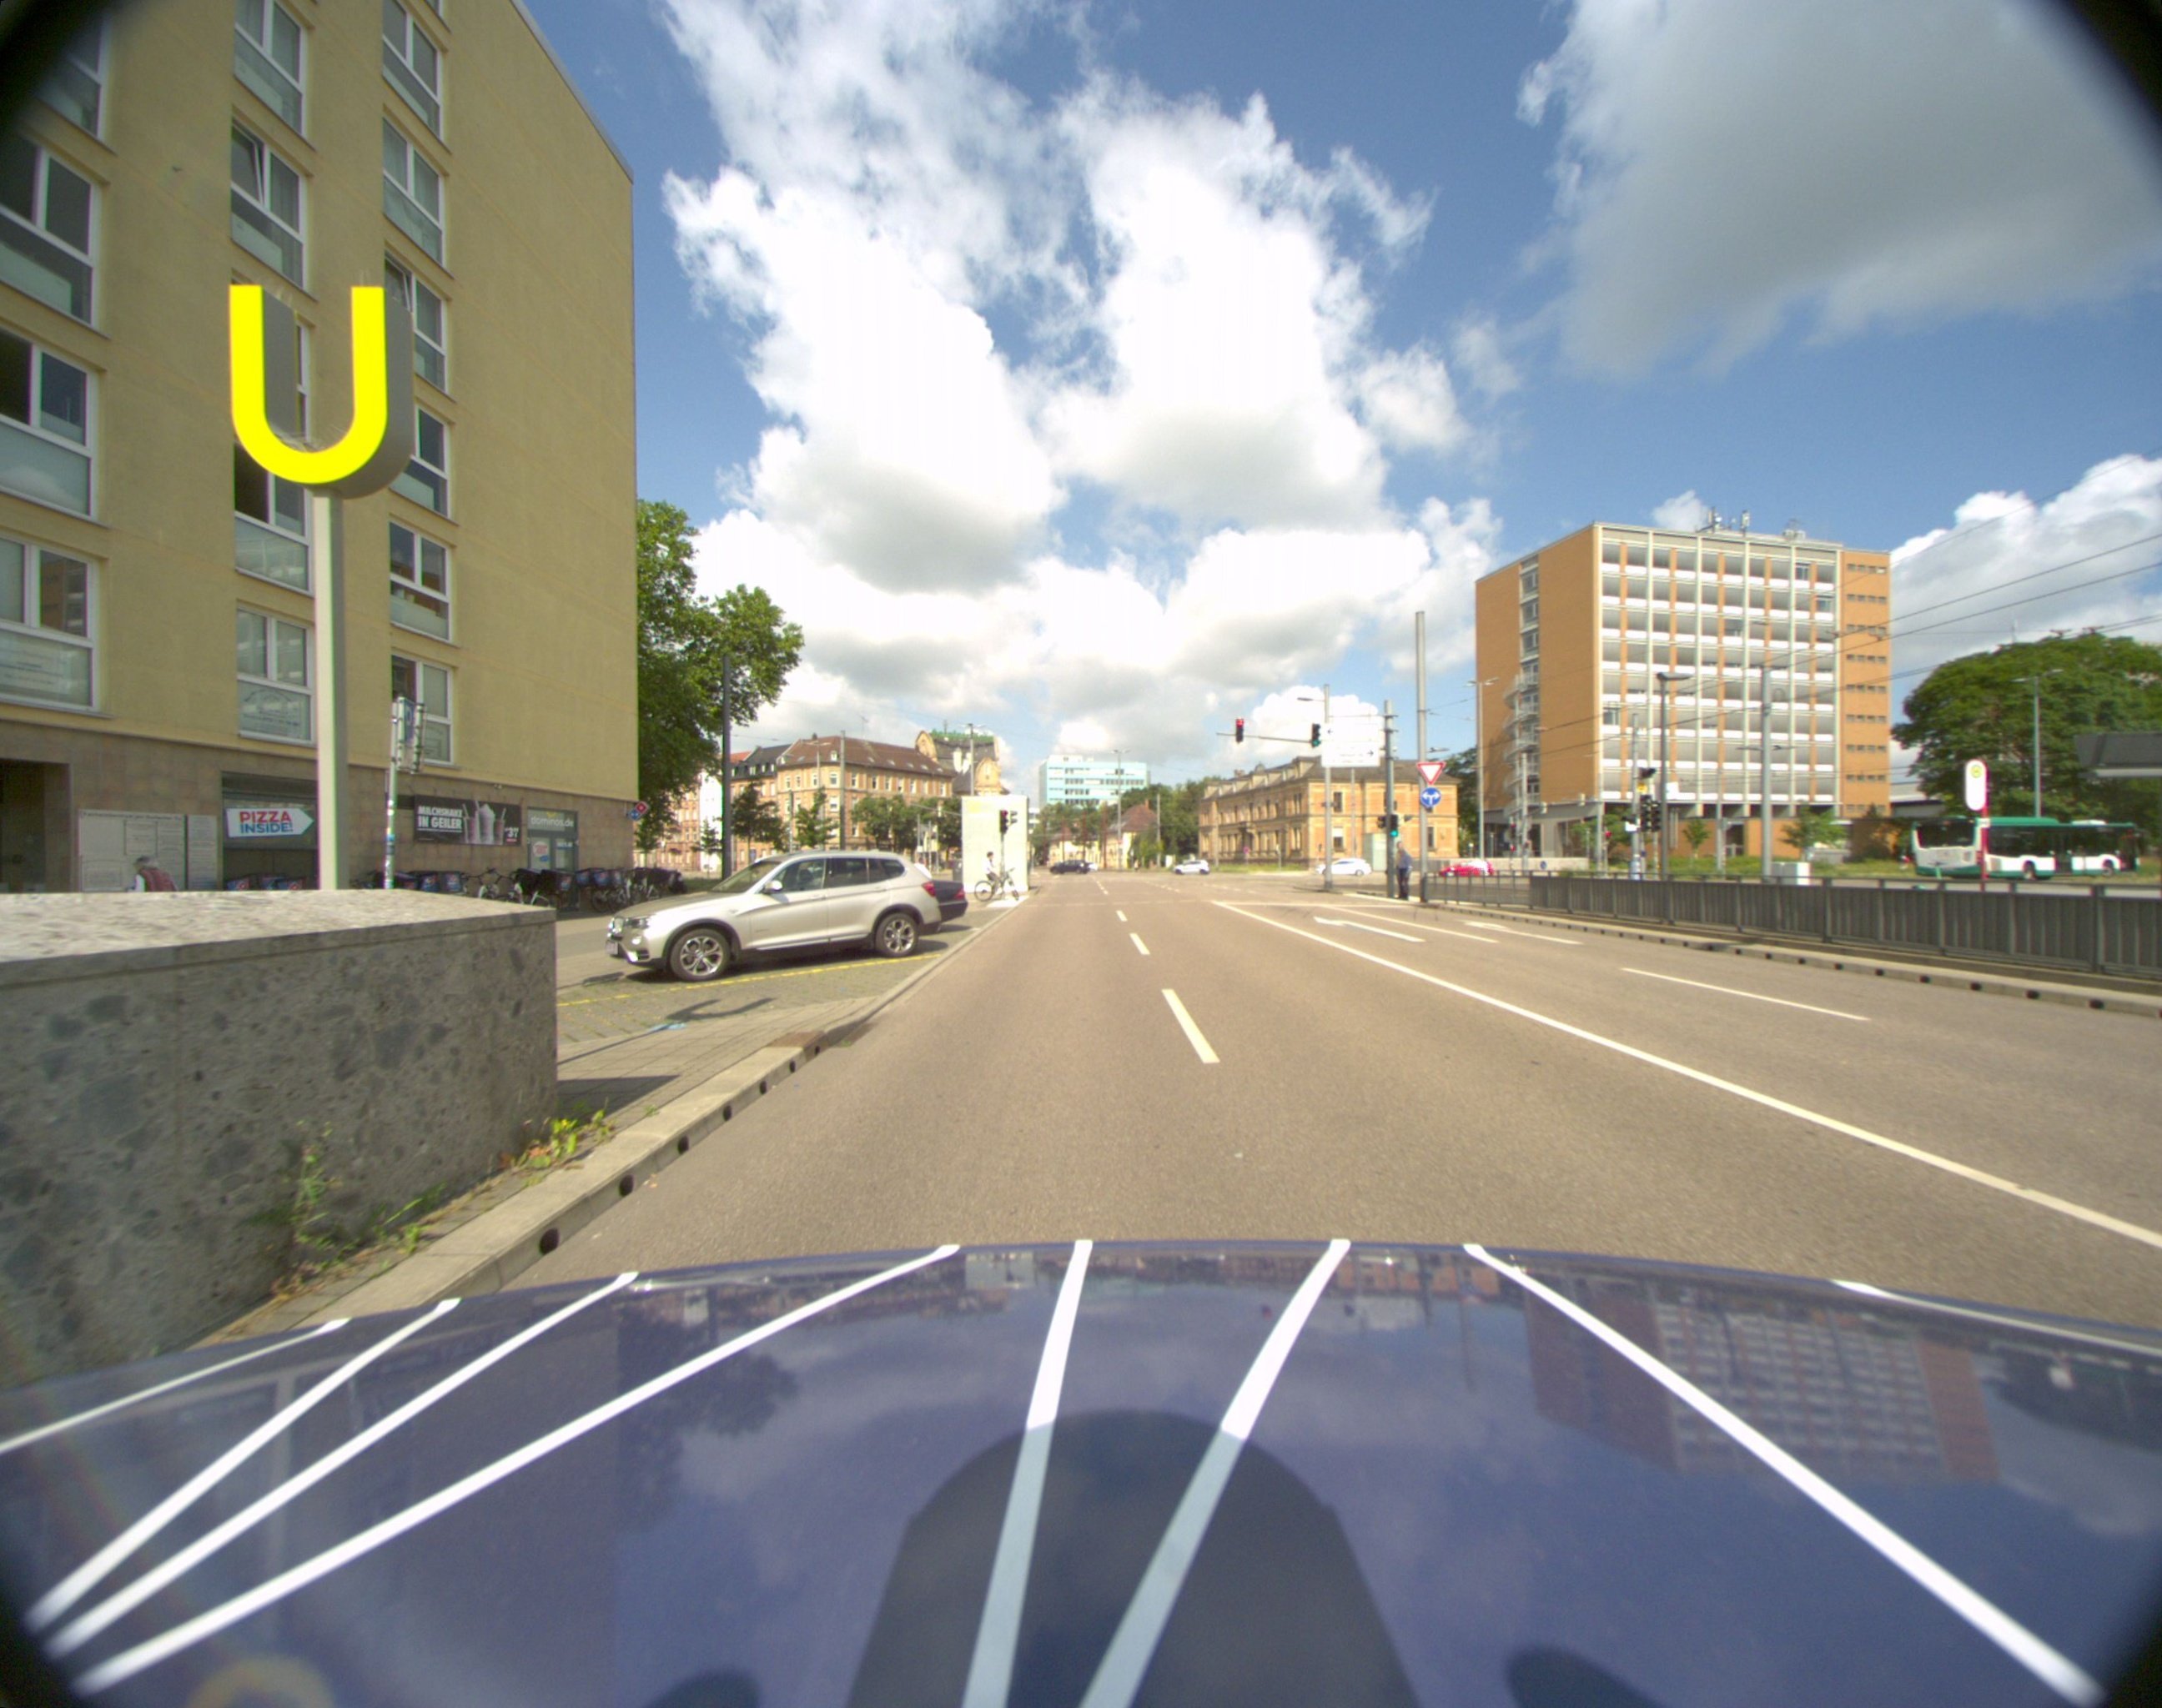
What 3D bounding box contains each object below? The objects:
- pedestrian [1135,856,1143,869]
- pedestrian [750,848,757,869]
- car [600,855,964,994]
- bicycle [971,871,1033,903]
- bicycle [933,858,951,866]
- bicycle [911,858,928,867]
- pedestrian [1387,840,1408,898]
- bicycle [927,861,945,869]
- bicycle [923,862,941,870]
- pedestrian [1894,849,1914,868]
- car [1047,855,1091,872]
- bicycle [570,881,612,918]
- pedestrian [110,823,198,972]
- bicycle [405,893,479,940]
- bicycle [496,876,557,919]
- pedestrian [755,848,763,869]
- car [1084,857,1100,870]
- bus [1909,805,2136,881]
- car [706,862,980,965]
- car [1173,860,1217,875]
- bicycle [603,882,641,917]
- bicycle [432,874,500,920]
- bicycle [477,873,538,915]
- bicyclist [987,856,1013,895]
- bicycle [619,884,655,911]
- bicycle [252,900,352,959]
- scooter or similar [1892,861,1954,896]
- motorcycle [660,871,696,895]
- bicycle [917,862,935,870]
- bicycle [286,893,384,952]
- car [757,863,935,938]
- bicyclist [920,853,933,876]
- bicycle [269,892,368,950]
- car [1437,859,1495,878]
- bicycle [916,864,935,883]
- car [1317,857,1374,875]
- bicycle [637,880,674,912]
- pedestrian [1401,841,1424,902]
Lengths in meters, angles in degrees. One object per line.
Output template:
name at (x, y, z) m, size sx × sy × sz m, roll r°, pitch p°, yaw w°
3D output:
pedestrian at (6.593, 0.955, 86.164) m, size 0.543 × 1.507 × 0.744 m, roll 0°, pitch 0°, yaw 40°
pedestrian at (-48.014, 0.631, 111.367) m, size 0.885 × 3.101 × 0.669 m, roll -2°, pitch -2°, yaw 41°
car at (-4.277, 0.842, 11.338) m, size 4.605 × 1.637 × 2.056 m, roll 0°, pitch 0°, yaw -42°
bicycle at (-2.788, 1.152, 26.787) m, size 2.096 × 1.099 × 0.545 m, roll -1°, pitch -2°, yaw 15°
bicycle at (-19.962, 1.127, 109.140) m, size 2.677 × 1.159 × 0.763 m, roll 0°, pitch 0°, yaw 35°
bicycle at (-22.432, 1.151, 105.455) m, size 2.677 × 1.159 × 0.763 m, roll 0°, pitch 0°, yaw 34°
pedestrian at (10.942, 0.514, 26.263) m, size 0.427 × 2.002 × 0.578 m, roll -1°, pitch 0°, yaw -11°
bicycle at (-20.618, 1.583, 108.189) m, size 2.677 × 1.159 × 0.763 m, roll 0°, pitch 0°, yaw 34°
bicycle at (-21.074, 1.651, 107.278) m, size 2.677 × 1.159 × 0.763 m, roll 0°, pitch 0°, yaw 35°
pedestrian at (68.686, 0.398, 63.431) m, size 0.770 × 1.569 × 0.955 m, roll -1°, pitch 0°, yaw -29°
car at (-1.261, 1.011, 79.810) m, size 4.203 × 1.566 × 1.649 m, roll -2°, pitch -2°, yaw 19°
bicycle at (-13.322, 1.222, 20.686) m, size 0.293 × 0.917 × 1.452 m, roll 0°, pitch 0°, yaw -4°
pedestrian at (-12.751, 0.596, 10.463) m, size 0.603 × 2.001 × 0.460 m, roll -1°, pitch -2°, yaw 1°
bicycle at (-13.430, 1.295, 16.013) m, size 0.293 × 0.917 × 1.465 m, roll -1°, pitch -2°, yaw 1°
bicycle at (-12.848, 0.988, 17.647) m, size 0.293 × 0.917 × 1.464 m, roll 0°, pitch 0°, yaw 1°
pedestrian at (-47.436, 0.623, 112.004) m, size 0.885 × 3.057 × 0.729 m, roll -2°, pitch -2°, yaw 41°
car at (1.380, 1.212, 98.823) m, size 1.956 × 1.586 × 4.507 m, roll -1°, pitch -2°, yaw -1°
bus at (48.734, -0.547, 39.281) m, size 12.386 × 3.599 × 2.911 m, roll 0°, pitch 0°, yaw -17°
car at (-4.502, 1.045, 14.769) m, size 4.608 × 1.451 × 1.934 m, roll -3°, pitch 0°, yaw -39°
car at (11.207, 1.322, 74.859) m, size 4.069 × 1.376 × 1.591 m, roll -1°, pitch -2°, yaw 20°
bicycle at (-12.735, 1.243, 21.112) m, size 0.293 × 0.917 × 1.611 m, roll 0°, pitch -1°, yaw -9°
bicycle at (-12.945, 0.879, 16.037) m, size 0.293 × 0.917 × 1.464 m, roll -1°, pitch -1°, yaw -2°
bicycle at (-13.367, 0.920, 17.744) m, size 0.293 × 0.917 × 1.464 m, roll -1°, pitch 0°, yaw 1°
bicyclist at (-2.861, 0.763, 26.824) m, size 0.782 × 1.328 × 0.395 m, roll -1°, pitch -2°, yaw 15°
bicycle at (-13.386, 1.315, 22.935) m, size 0.293 × 0.734 × 1.452 m, roll 0°, pitch 0°, yaw -3°
bicycle at (-13.616, 1.299, 13.327) m, size 0.293 × 0.917 × 1.464 m, roll -1°, pitch -1°, yaw -2°
scooter or similar at (28.830, 0.827, 26.045) m, size 0.813 × 1.160 × 1.167 m, roll 0°, pitch 0°, yaw -9°
motorcycle at (-18.157, 1.284, 34.212) m, size 0.976 × 1.024 × 2.288 m, roll -2°, pitch 1°, yaw -39°
bicycle at (-21.745, 1.688, 106.361) m, size 2.677 × 1.158 × 0.763 m, roll -2°, pitch -2°, yaw 34°
bicycle at (-12.843, 1.157, 13.130) m, size 0.293 × 0.917 × 1.464 m, roll -1°, pitch -1°, yaw -2°
car at (-5.424, 0.992, 17.696) m, size 3.503 × 1.445 × 1.774 m, roll -2°, pitch 1°, yaw -40°
bicyclist at (-9.574, 0.661, 47.015) m, size 0.655 × 1.429 × 0.743 m, roll 0°, pitch 0°, yaw 1°
bicycle at (-13.298, 1.147, 13.301) m, size 0.293 × 0.917 × 1.464 m, roll -1°, pitch -1°, yaw -2°
car at (32.024, 1.210, 63.320) m, size 4.057 × 1.458 × 1.649 m, roll -1°, pitch -2°, yaw 15°
bicycle at (-9.572, 1.206, 46.911) m, size 0.663 × 1.114 × 2.332 m, roll 0°, pitch 0°, yaw 1°
car at (22.989, 1.064, 66.212) m, size 4.665 × 1.420 × 1.766 m, roll -1°, pitch -2°, yaw 17°
bicycle at (-12.805, 1.253, 22.897) m, size 0.293 × 0.878 × 1.464 m, roll -1°, pitch 1°, yaw -2°
pedestrian at (11.090, 0.585, 25.435) m, size 0.503 × 2.002 × 0.515 m, roll -1°, pitch 0°, yaw -11°
